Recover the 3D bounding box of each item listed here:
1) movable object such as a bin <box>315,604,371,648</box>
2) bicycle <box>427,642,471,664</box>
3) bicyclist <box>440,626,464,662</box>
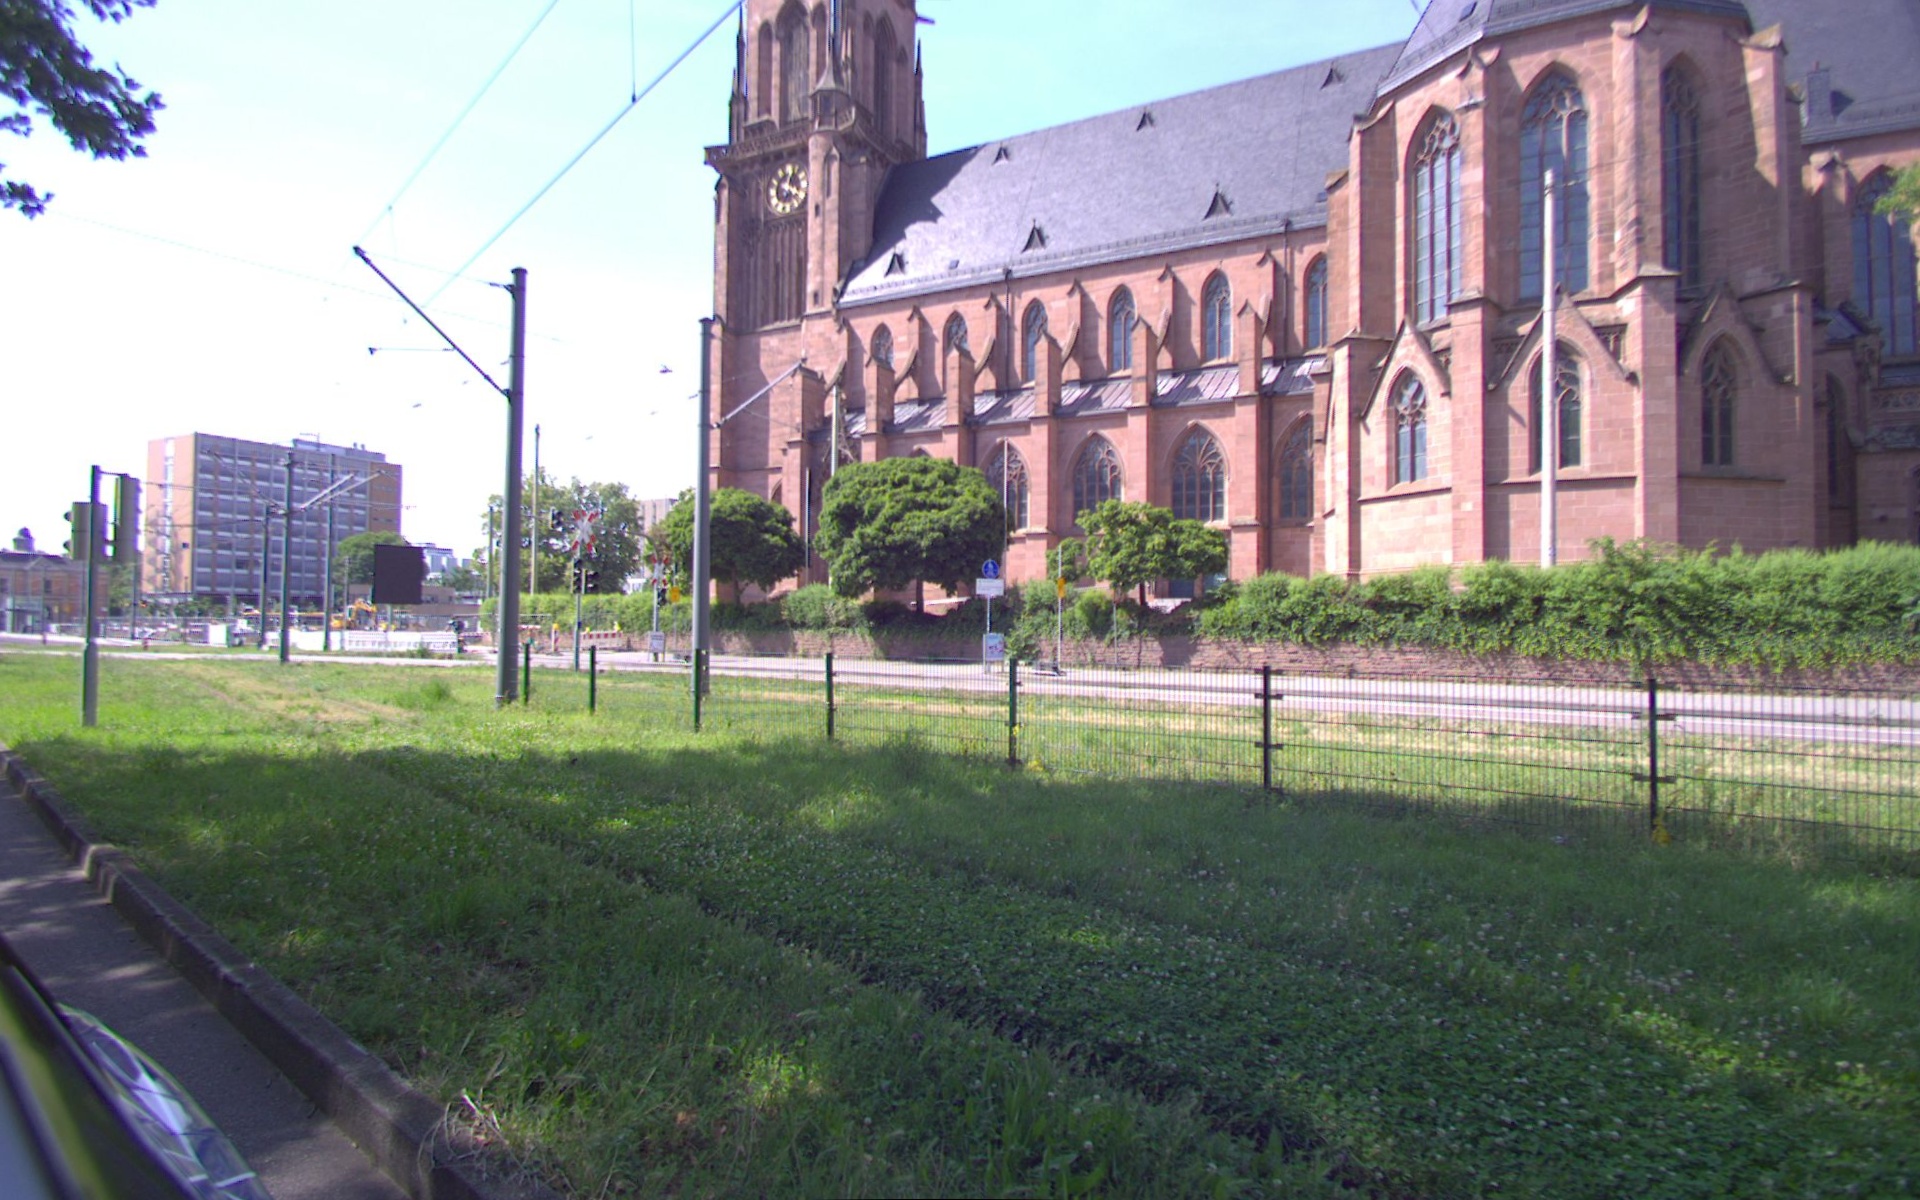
[{"bbox_3d":[-57.114,2.428,93.788,2.903,3.911,3.328,0,-2,6],"label":"movable object such as a bin"},{"bbox_3d":[-24.981,2.579,49.482,1.950,1.054,0.654,0,-2,14],"label":"bicycle"},{"bbox_3d":[-24.828,2.150,49.475,0.787,1.775,0.642,0,-2,14],"label":"bicyclist"}]
